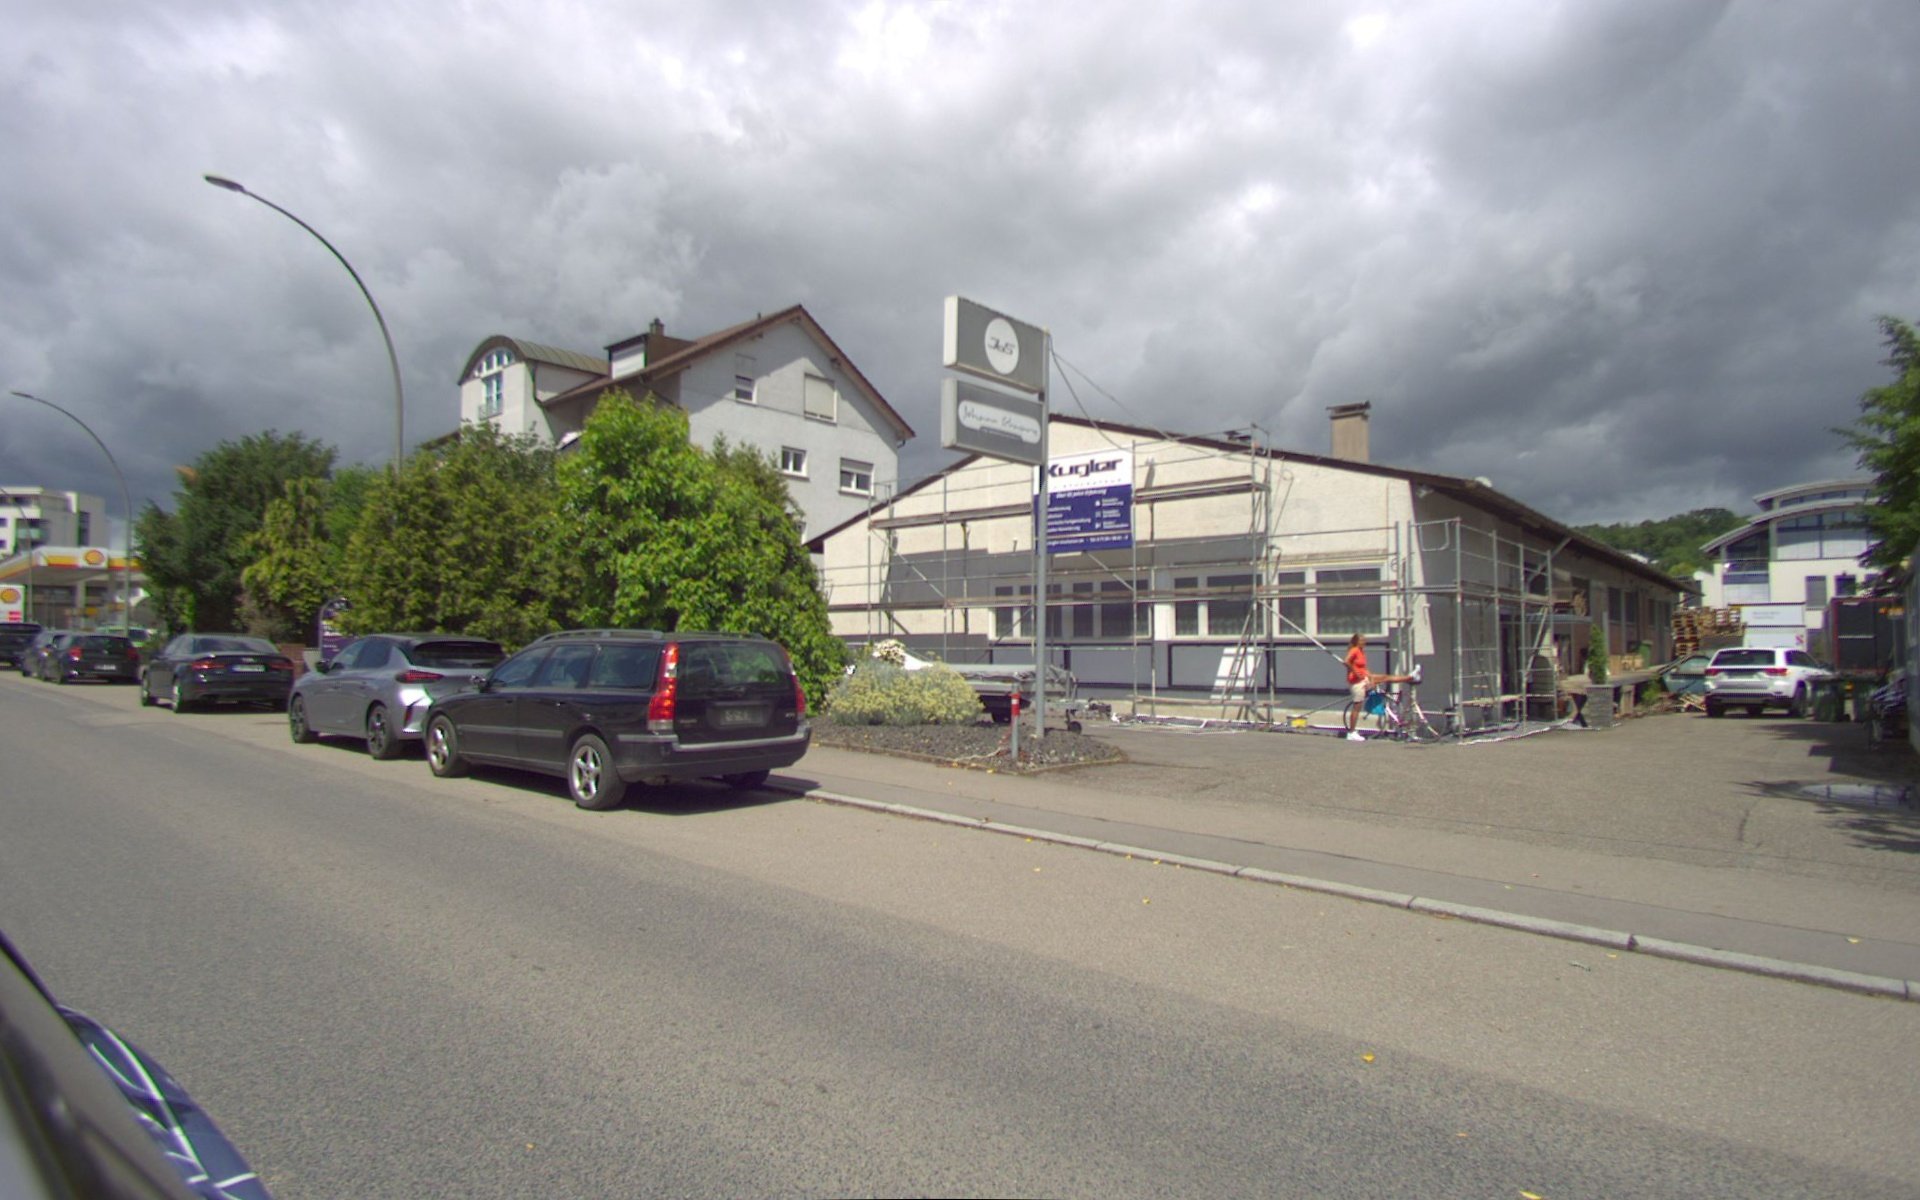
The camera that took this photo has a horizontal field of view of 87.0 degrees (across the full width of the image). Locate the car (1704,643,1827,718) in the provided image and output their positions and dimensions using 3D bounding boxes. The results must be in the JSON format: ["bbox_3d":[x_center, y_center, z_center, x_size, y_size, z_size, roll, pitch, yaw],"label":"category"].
[{"bbox_3d":[20.375,2.056,25.548,2.000,1.741,3.943,-6,-8,43],"label":"car"}]

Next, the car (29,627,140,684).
[{"bbox_3d":[-24.246,1.513,27.974,4.336,1.446,1.645,-2,-5,41],"label":"car"}]

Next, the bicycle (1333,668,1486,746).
[{"bbox_3d":[7.155,1.675,16.195,2.183,1.094,0.465,-2,-1,41],"label":"bicycle"}]

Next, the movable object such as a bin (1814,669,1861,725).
[{"bbox_3d":[19.435,2.137,22.433,0.753,1.151,0.600,-2,-1,40],"label":"movable object such as a bin"}]

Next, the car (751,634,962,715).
[{"bbox_3d":[-2.078,1.485,20.110,3.936,1.398,1.896,3,-4,-9],"label":"car"}]

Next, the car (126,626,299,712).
[{"bbox_3d":[-14.037,1.250,18.923,4.336,1.425,1.645,-2,-4,41],"label":"car"}]

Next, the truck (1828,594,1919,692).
[{"bbox_3d":[35.980,1.571,39.575,2.802,3.526,6.143,-2,-1,39],"label":"truck"}]

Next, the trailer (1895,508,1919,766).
[{"bbox_3d":[12.303,0.541,11.099,2.731,2.672,6.176,-2,-5,41],"label":"trailer"}]

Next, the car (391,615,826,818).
[{"bbox_3d":[-3.536,0.958,9.689,4.731,1.504,1.702,-2,-4,39],"label":"car"}]

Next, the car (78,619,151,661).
[{"bbox_3d":[-37.767,1.773,45.182,4.335,1.799,1.774,-2,-2,40],"label":"car"}]

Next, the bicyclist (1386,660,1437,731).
[{"bbox_3d":[7.212,1.518,16.157,0.609,1.069,0.474,-2,-1,41],"label":"bicyclist"}]

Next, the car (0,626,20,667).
[{"bbox_3d":[-41.115,1.939,42.656,4.523,1.693,1.645,-2,-5,41],"label":"car"}]

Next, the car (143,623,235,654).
[{"bbox_3d":[-48.055,2.407,63.229,1.947,1.866,4.983,0,-2,-1],"label":"car"}]

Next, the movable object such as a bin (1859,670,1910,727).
[{"bbox_3d":[20.026,2.112,21.931,0.753,1.151,0.600,-2,-1,40],"label":"movable object such as a bin"}]

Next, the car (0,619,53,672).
[{"bbox_3d":[-36.396,1.716,38.581,5.426,1.835,1.891,-2,-6,41],"label":"car"}]

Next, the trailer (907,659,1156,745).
[{"bbox_3d":[1.056,1.543,16.118,3.812,1.135,1.542,-2,-3,41],"label":"trailer"}]

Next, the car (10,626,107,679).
[{"bbox_3d":[-27.926,1.617,31.330,3.942,1.522,1.645,-2,-6,41],"label":"car"}]

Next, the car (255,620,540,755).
[{"bbox_3d":[-7.223,1.033,12.832,4.195,1.443,1.702,-2,-5,39],"label":"car"}]

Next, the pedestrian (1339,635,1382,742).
[{"bbox_3d":[6.350,1.391,16.050,0.497,1.660,0.518,-2,-5,40],"label":"pedestrian"}]
